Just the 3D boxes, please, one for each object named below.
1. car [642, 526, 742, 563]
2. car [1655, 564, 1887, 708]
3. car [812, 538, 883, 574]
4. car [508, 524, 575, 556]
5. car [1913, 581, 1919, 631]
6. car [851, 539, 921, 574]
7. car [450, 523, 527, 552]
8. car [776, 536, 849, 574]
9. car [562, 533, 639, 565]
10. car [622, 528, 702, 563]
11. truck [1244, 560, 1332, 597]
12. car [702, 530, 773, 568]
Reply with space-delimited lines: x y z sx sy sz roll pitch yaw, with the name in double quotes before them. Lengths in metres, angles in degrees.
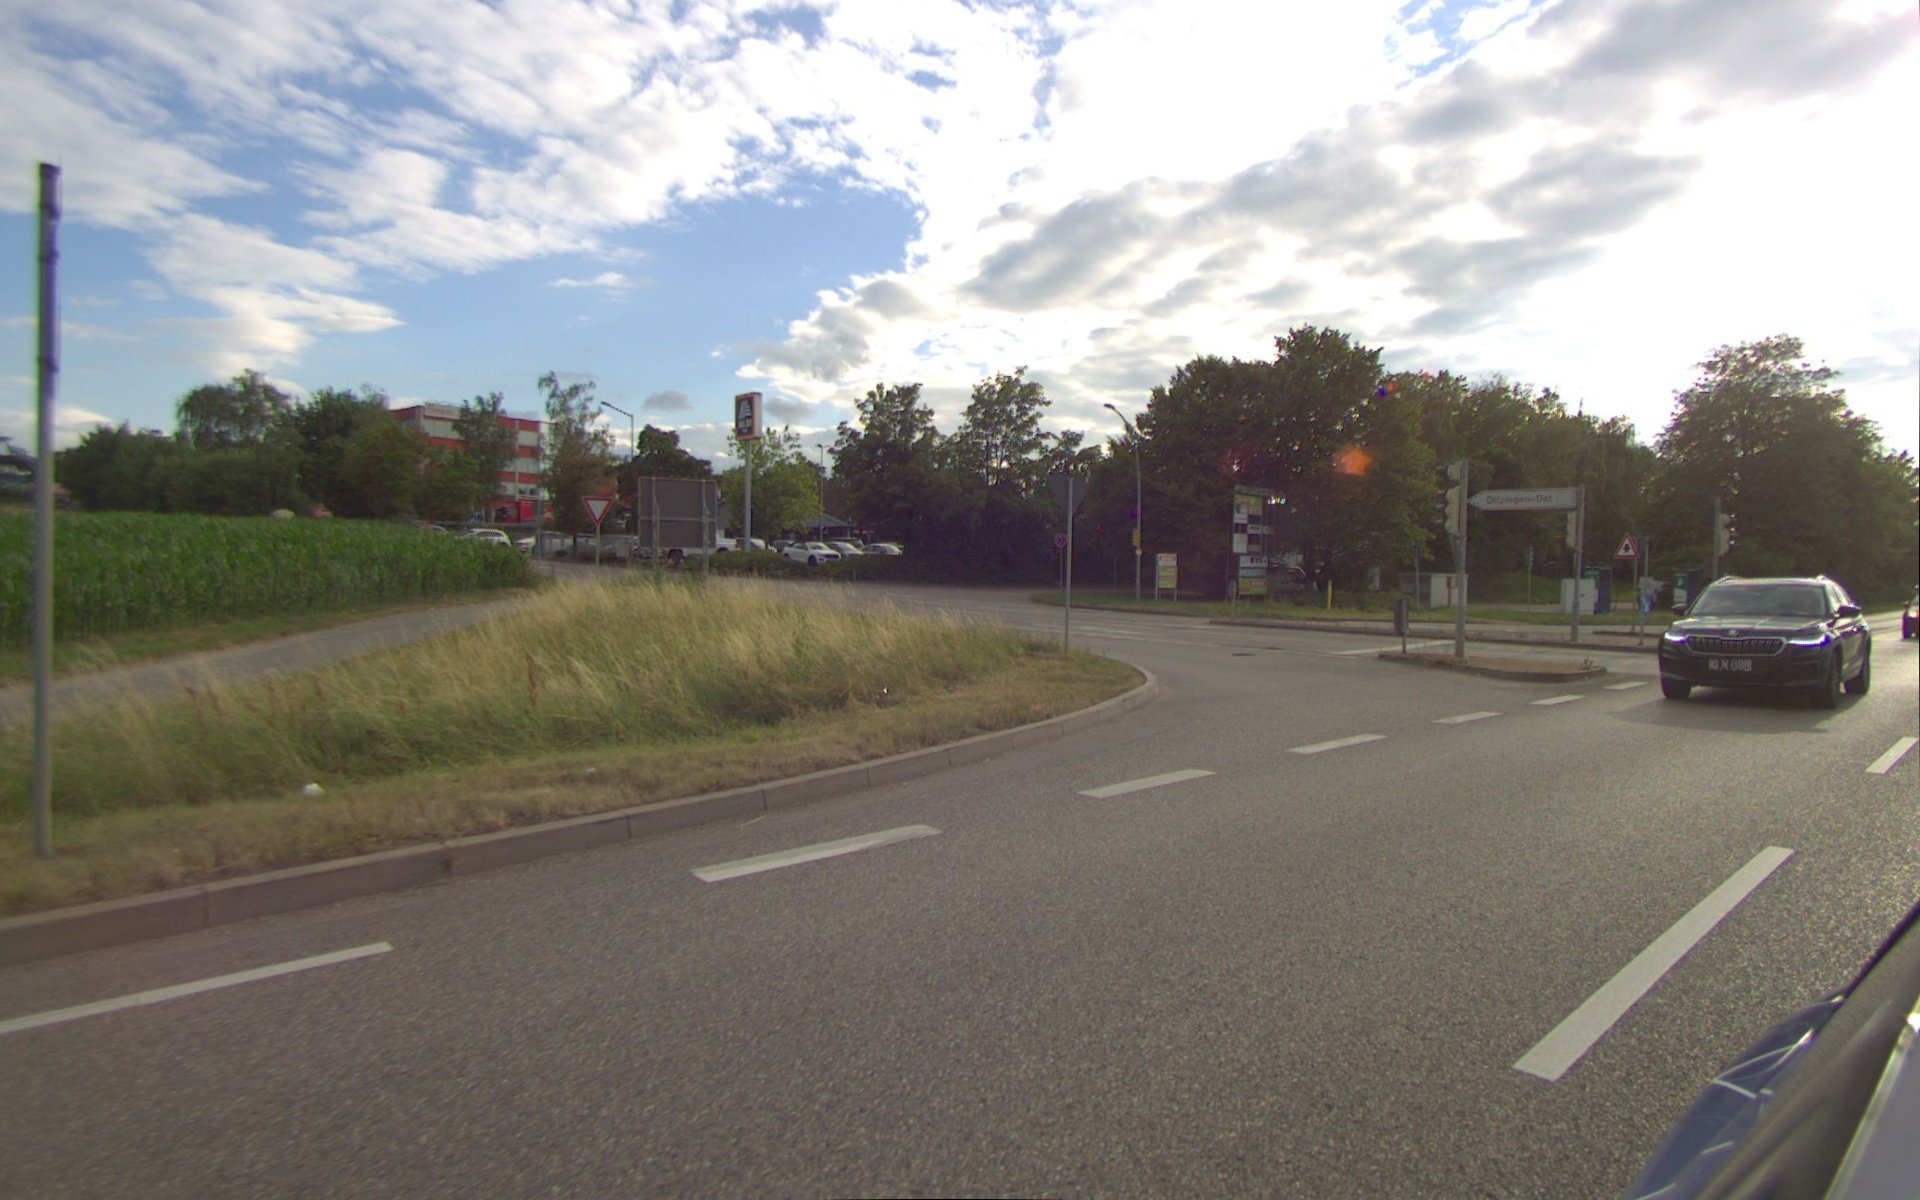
"car" -15.659 -3.233 59.371 1.993 2.038 5.532 4 4 41
"car" 11.273 0.400 13.957 4.404 1.670 1.847 0 0 -42
"car" -6.679 -2.598 59.595 1.928 1.874 4.298 0 5 -43
"car" -29.796 -4.242 72.140 1.989 2.039 3.947 0 1 37
"car" 29.899 0.178 30.213 3.923 1.450 1.666 0 1 -40
"car" -4.542 -2.661 61.620 1.928 1.906 4.298 0 5 -43
"car" -31.596 -4.203 67.906 1.993 1.799 4.264 4 4 41
"car" -8.468 -2.572 57.900 1.928 1.906 4.298 0 5 -43
"car" -23.188 -3.294 65.426 1.954 1.906 4.241 6 5 41
"car" -17.888 -3.252 60.900 1.954 1.906 4.241 6 5 41
"truck" 18.678 -1.248 57.855 4.600 2.022 1.816 1 1 14
"car" -12.652 -2.915 57.399 1.928 1.906 4.298 0 5 -43
